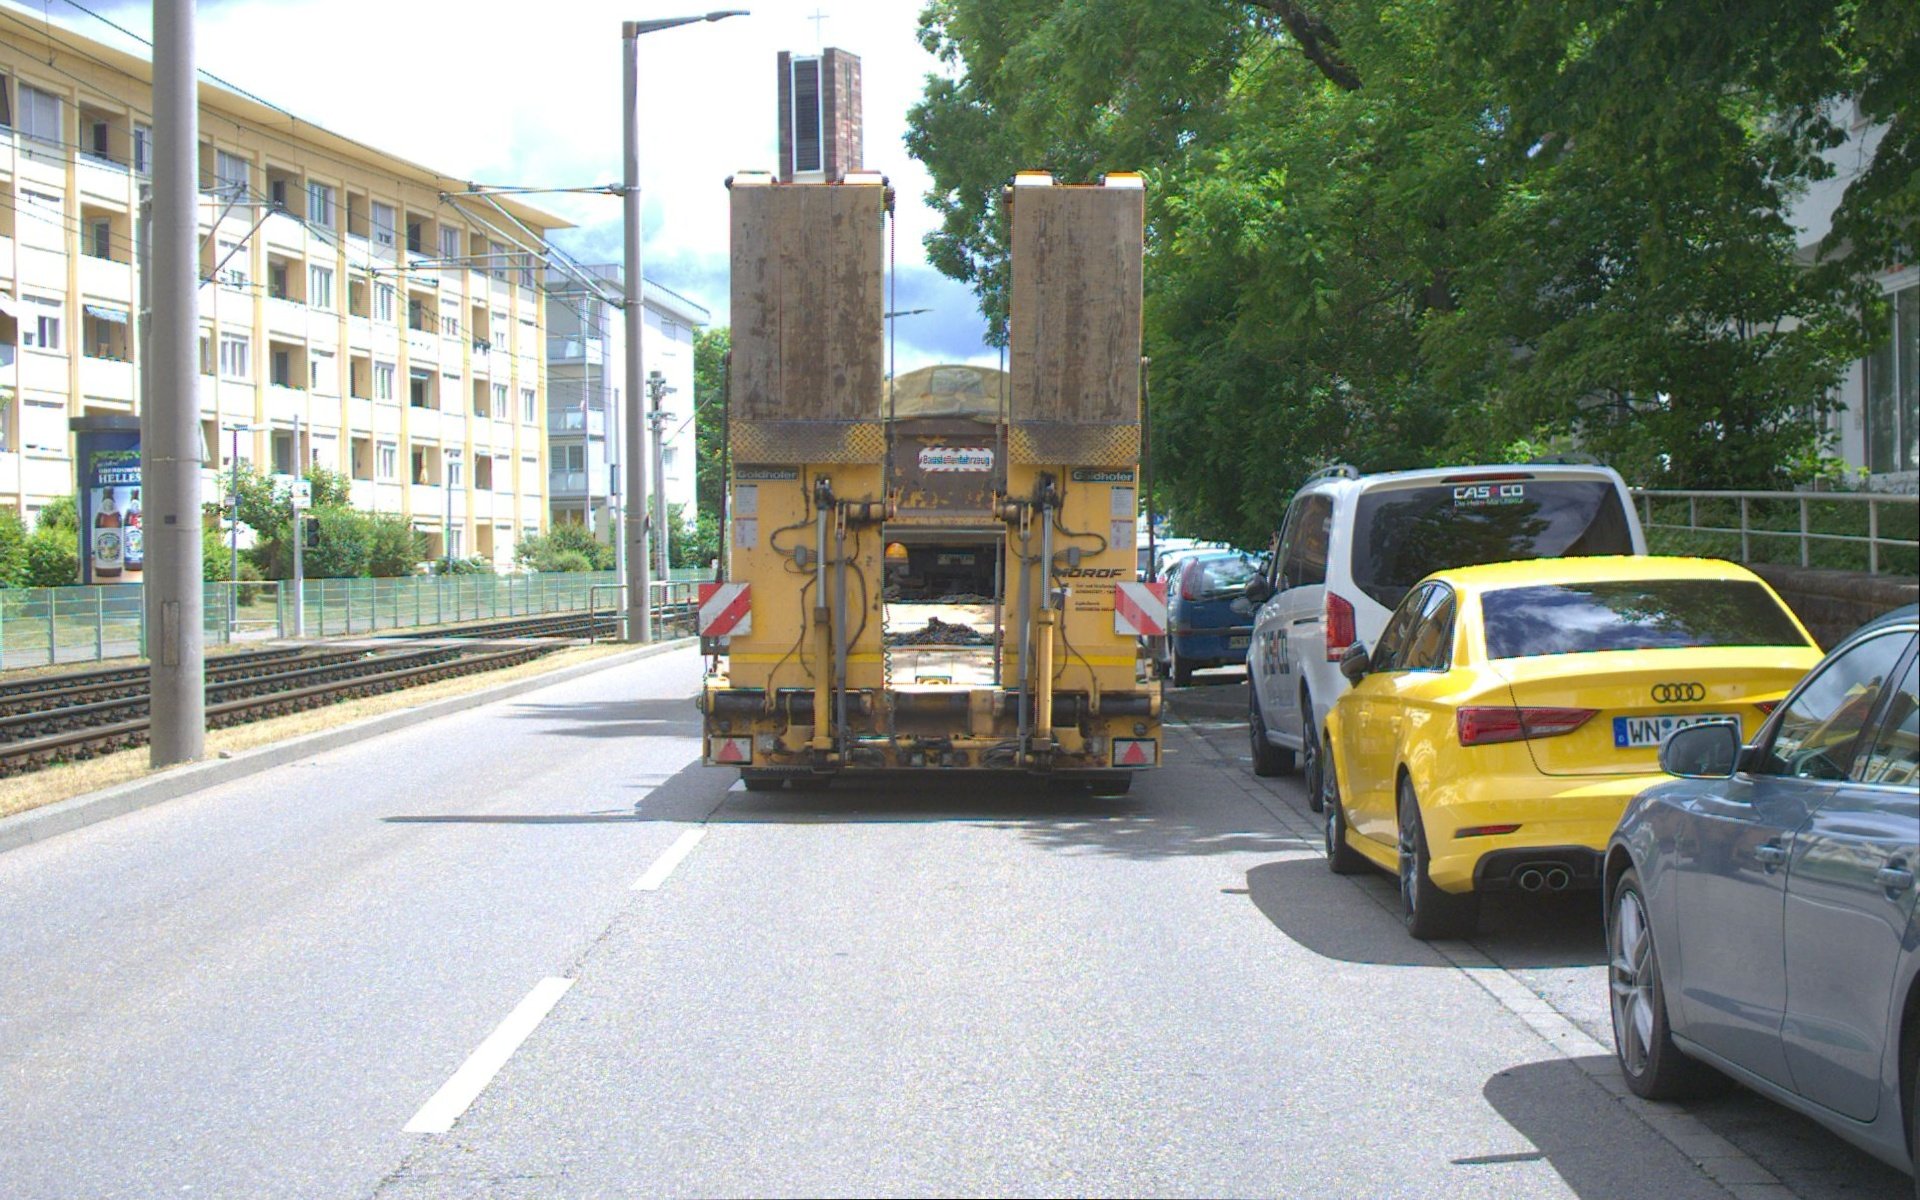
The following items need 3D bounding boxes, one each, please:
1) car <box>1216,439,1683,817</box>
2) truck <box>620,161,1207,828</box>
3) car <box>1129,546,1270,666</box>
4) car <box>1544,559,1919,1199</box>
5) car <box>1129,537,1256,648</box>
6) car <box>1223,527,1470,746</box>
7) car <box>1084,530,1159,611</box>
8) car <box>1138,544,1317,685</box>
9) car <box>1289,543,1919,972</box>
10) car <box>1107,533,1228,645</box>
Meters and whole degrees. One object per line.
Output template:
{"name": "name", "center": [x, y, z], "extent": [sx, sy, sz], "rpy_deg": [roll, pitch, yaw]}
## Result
{"name": "car", "center": [2.796, 0.097, 21.009], "extent": [1.914, 1.952, 5.745], "rpy_deg": [-1, 1, -1]}
{"name": "truck", "center": [-0.335, -0.687, 24.611], "extent": [3.124, 3.552, 12.460], "rpy_deg": [0, 1, -1]}
{"name": "car", "center": [3.102, 0.048, 45.129], "extent": [1.645, 1.485, 3.822], "rpy_deg": [0, 1, 1]}
{"name": "car", "center": [2.640, 0.643, 7.632], "extent": [1.755, 1.437, 4.494], "rpy_deg": [-1, 1, -2]}
{"name": "car", "center": [3.367, -0.138, 50.263], "extent": [1.581, 1.547, 3.475], "rpy_deg": [0, 1, 0]}
{"name": "car", "center": [2.902, 0.240, 26.265], "extent": [1.513, 1.528, 2.847], "rpy_deg": [-2, 1, 0]}
{"name": "car", "center": [4.106, -0.783, 88.146], "extent": [1.799, 1.961, 4.590], "rpy_deg": [-1, 1, 2]}
{"name": "car", "center": [2.952, 0.123, 38.568], "extent": [1.608, 1.451, 3.676], "rpy_deg": [-2, 1, -1]}
{"name": "car", "center": [2.470, 0.514, 14.183], "extent": [1.755, 1.437, 4.341], "rpy_deg": [-2, 1, 0]}
{"name": "car", "center": [3.310, -0.216, 54.780], "extent": [1.824, 1.676, 4.575], "rpy_deg": [-1, 1, 4]}
